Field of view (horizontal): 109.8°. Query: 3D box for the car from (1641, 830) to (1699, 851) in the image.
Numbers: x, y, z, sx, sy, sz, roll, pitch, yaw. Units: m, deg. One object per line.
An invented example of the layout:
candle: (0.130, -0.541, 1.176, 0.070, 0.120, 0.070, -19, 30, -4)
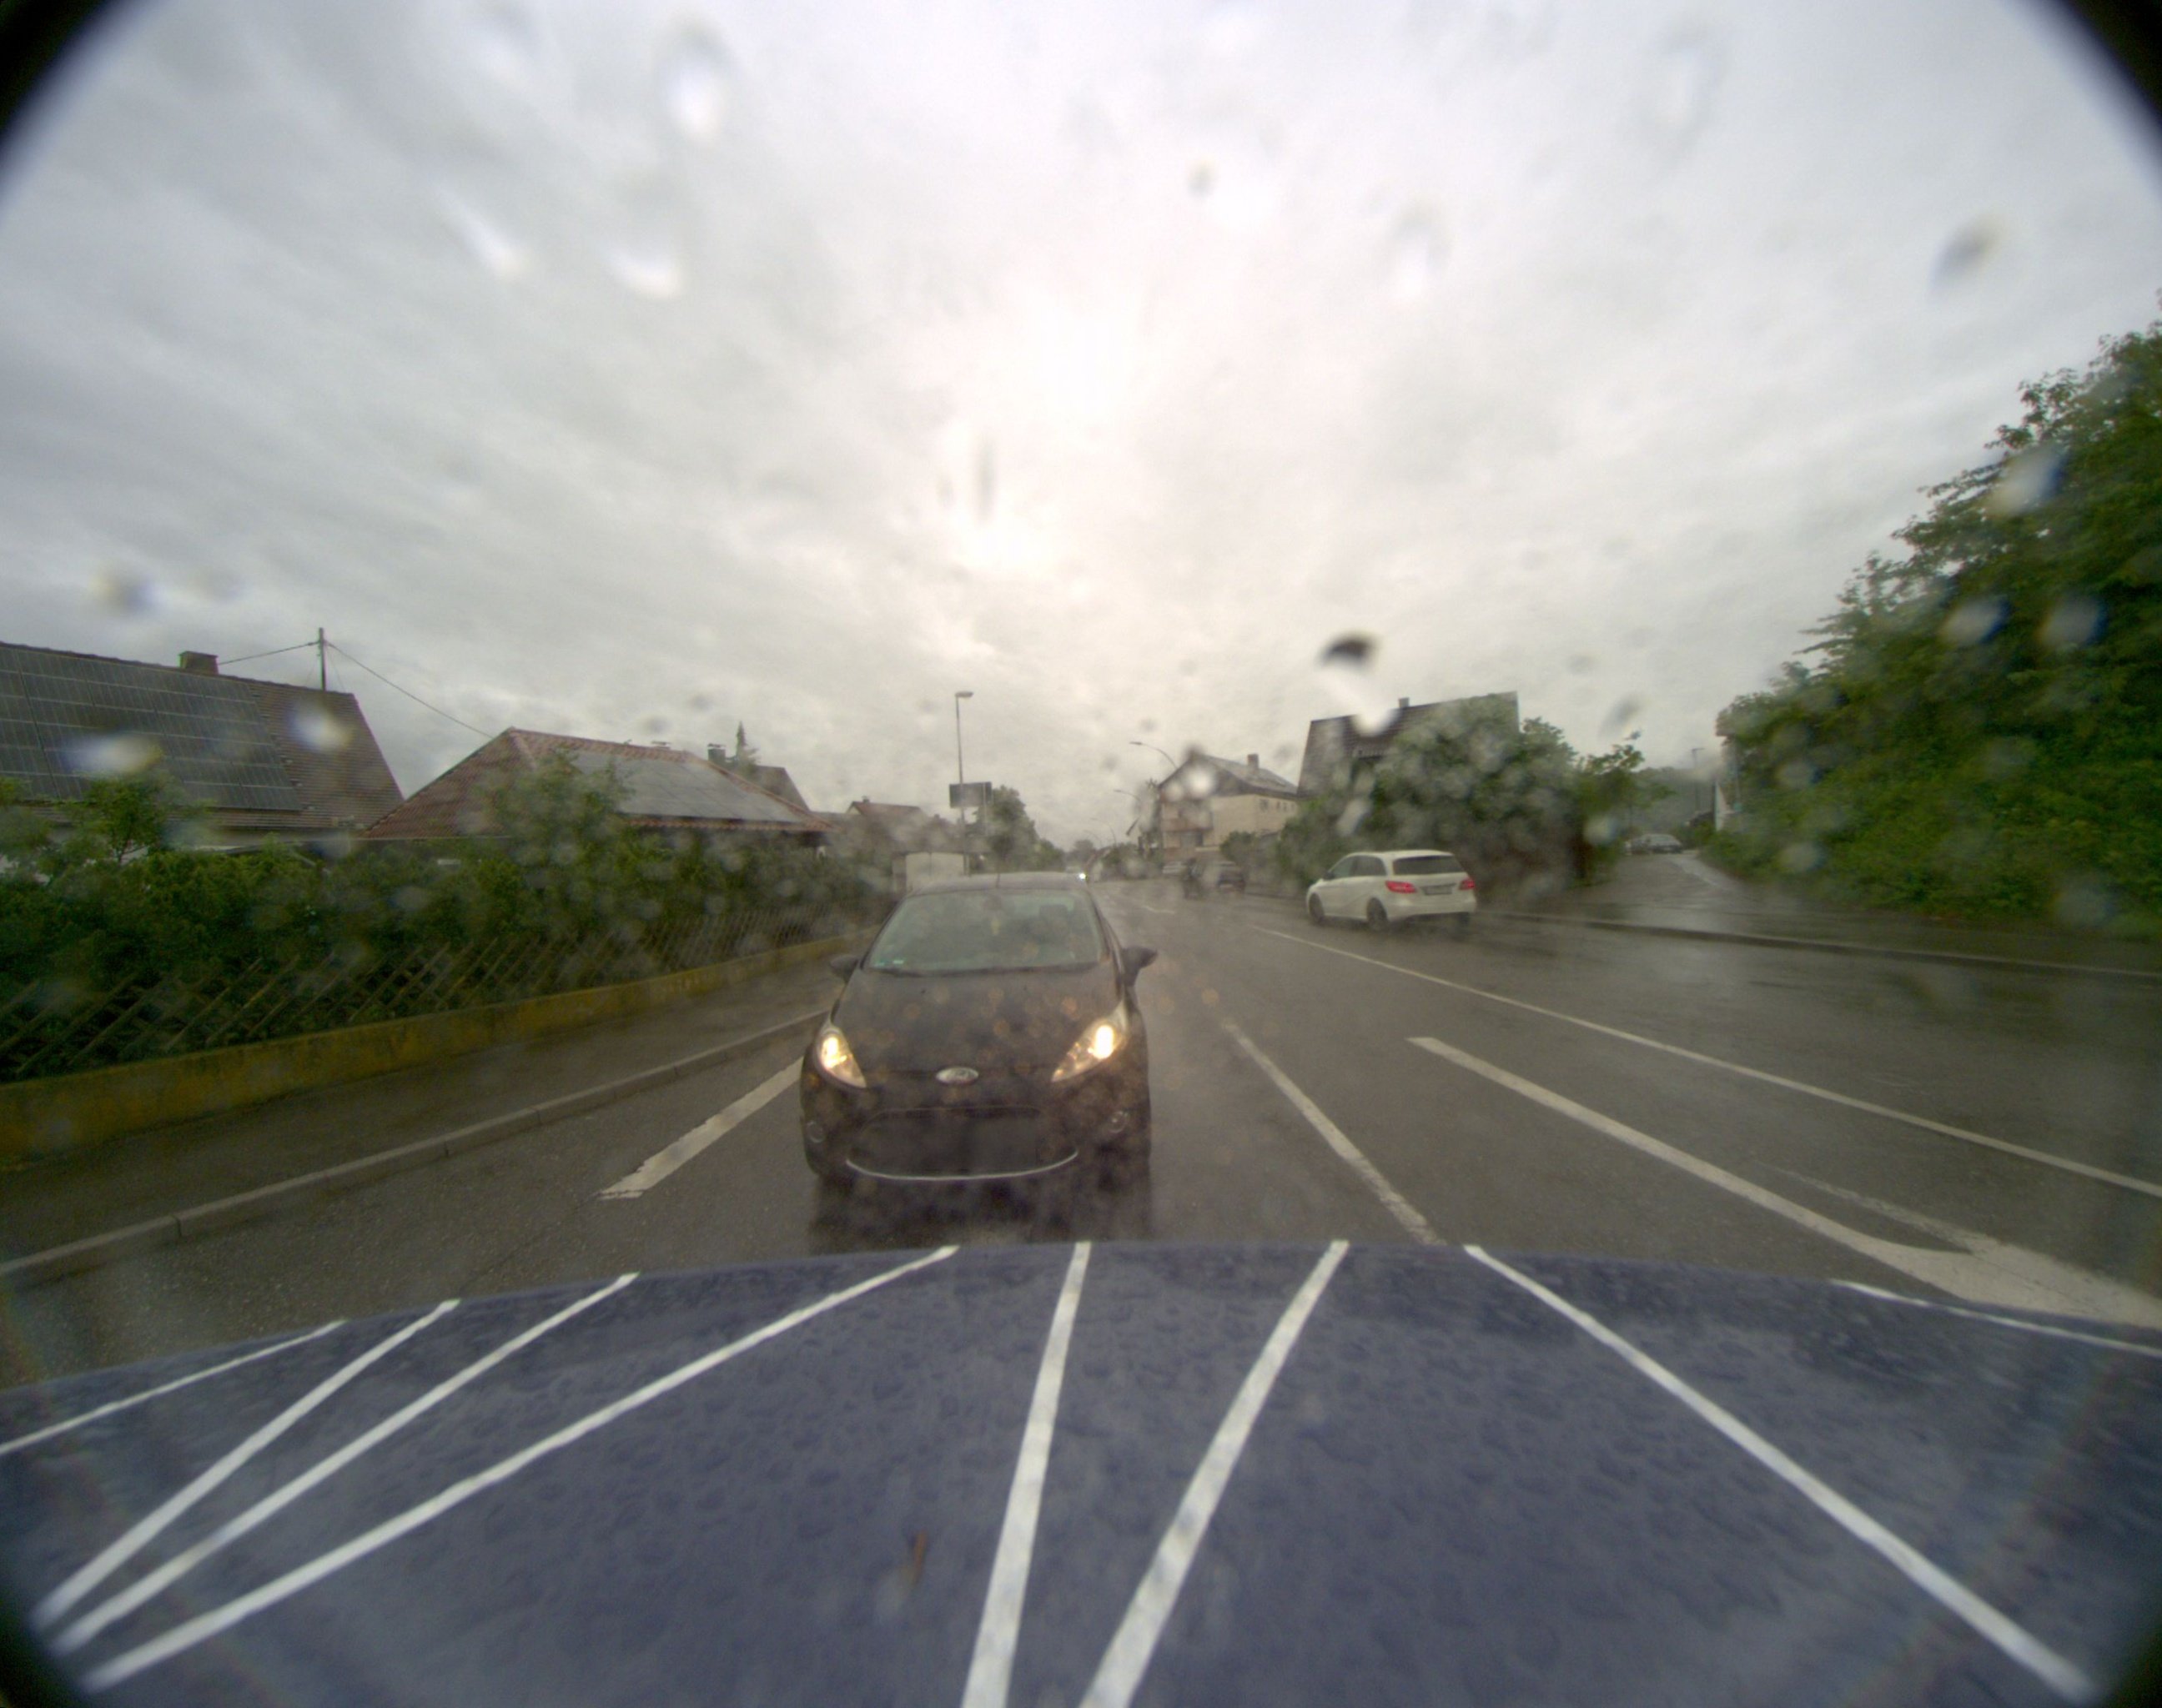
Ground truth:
car: (45.491, -0.999, 58.816, 1.997, 1.477, 4.004, -3, 0, 13)

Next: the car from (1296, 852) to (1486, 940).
car: (6.156, 0.753, 15.695, 1.670, 1.496, 4.319, -3, 0, -8)

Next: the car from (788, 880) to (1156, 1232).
car: (-0.555, 1.016, 5.535, 1.666, 1.410, 3.931, -2, 1, -1)

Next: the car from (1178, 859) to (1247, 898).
car: (5.314, 0.952, 31.249, 1.670, 1.430, 4.105, 0, 0, -8)

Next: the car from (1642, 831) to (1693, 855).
car: (40.797, -0.746, 52.974, 1.895, 1.474, 4.007, -2, 0, 24)

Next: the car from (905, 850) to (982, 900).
car: (-6.907, 1.033, 38.582, 1.650, 2.337, 4.007, -2, 0, 27)

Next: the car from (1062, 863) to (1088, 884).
car: (-0.514, 1.499, 59.823, 1.899, 1.474, 3.999, -2, 0, -3)

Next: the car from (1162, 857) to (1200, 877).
car: (8.818, 1.117, 66.871, 1.661, 1.538, 4.007, -2, 1, 34)
